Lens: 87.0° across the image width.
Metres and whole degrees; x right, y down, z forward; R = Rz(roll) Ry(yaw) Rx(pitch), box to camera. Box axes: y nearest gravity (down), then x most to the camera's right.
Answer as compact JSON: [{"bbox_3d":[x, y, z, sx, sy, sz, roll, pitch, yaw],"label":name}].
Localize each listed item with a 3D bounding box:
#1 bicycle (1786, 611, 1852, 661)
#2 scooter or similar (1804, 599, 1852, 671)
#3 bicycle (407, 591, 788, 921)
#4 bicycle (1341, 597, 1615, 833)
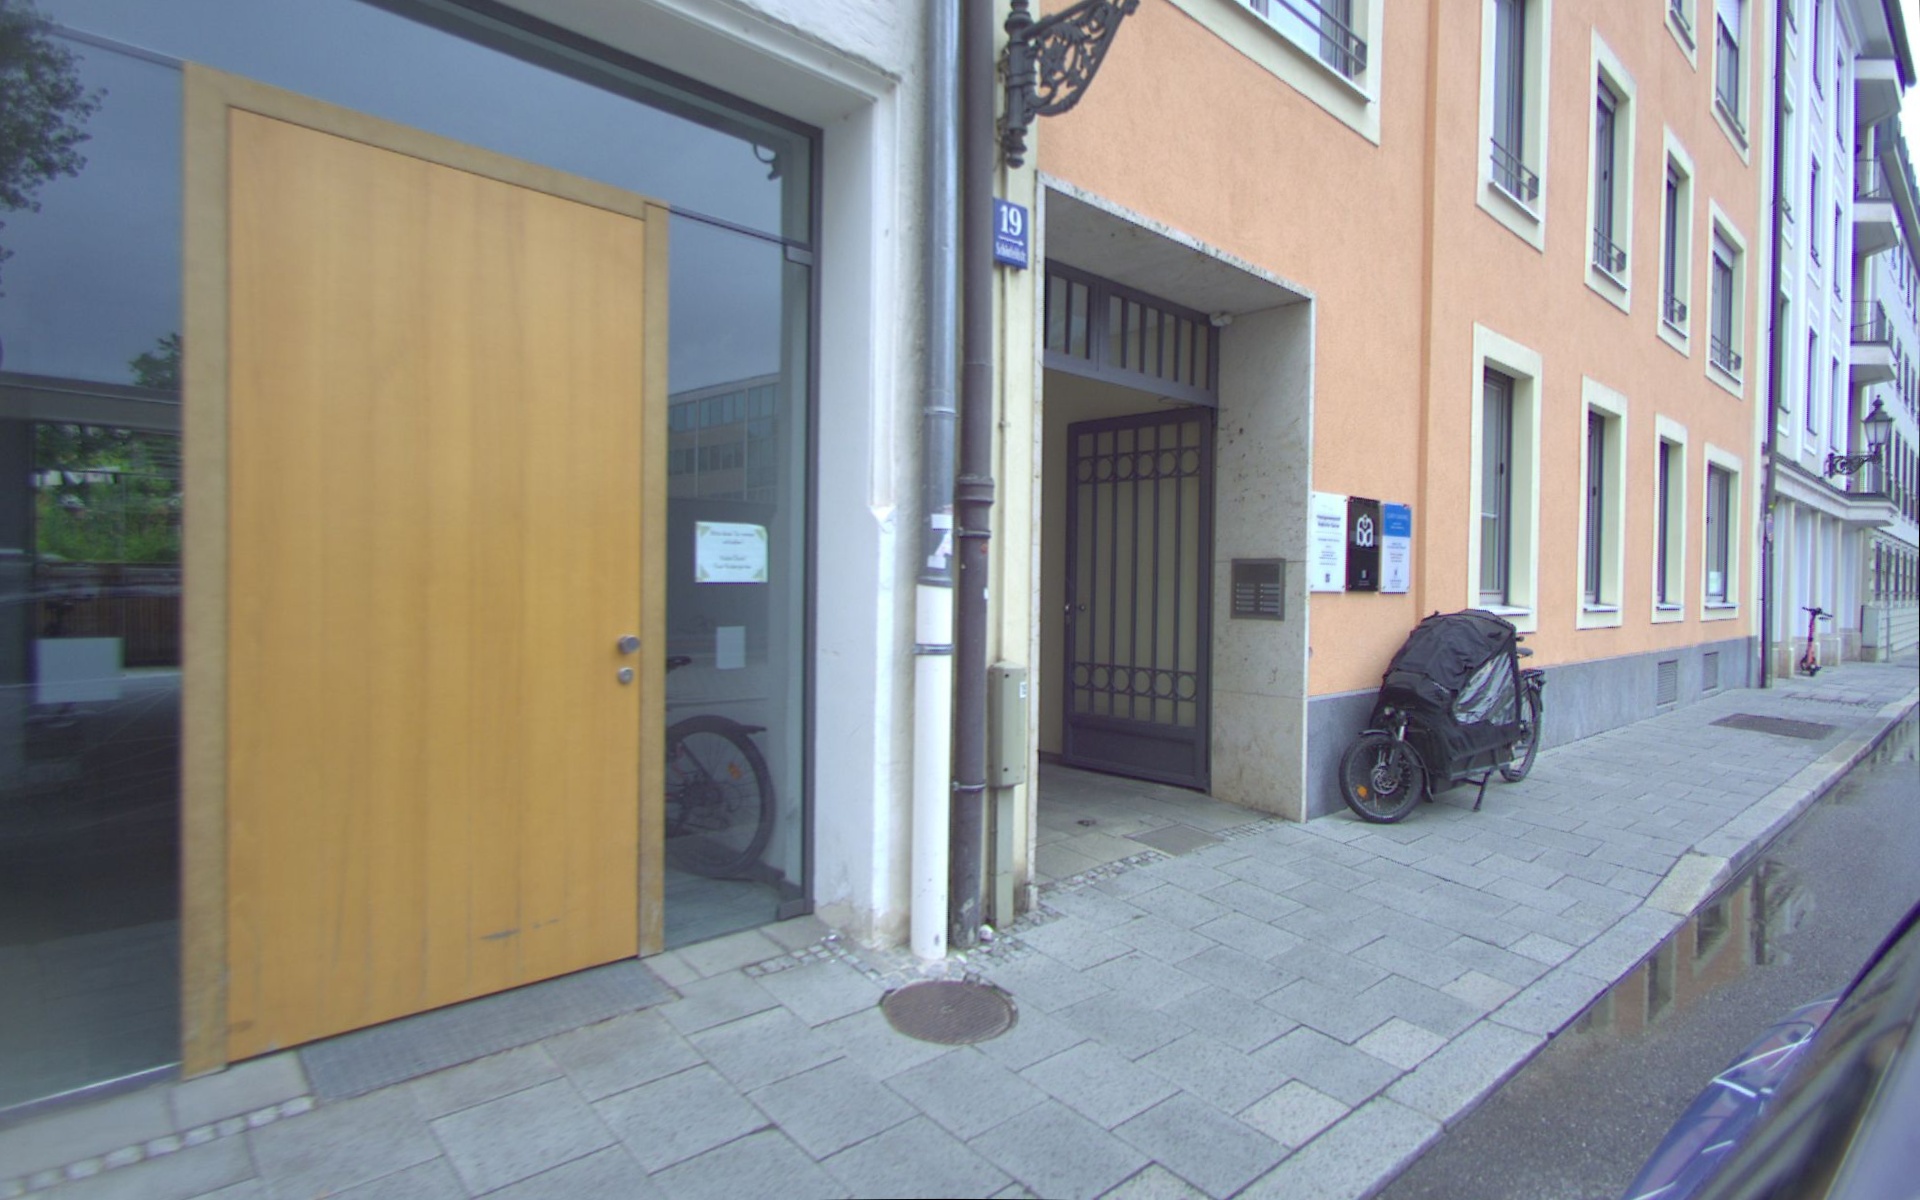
[{"bbox_3d":[18.450,0.775,21.728,2.037,1.006,0.465,2,0,-33],"label":"bicycle"},{"bbox_3d":[16.538,0.649,19.304,0.463,1.274,1.261,4,3,33],"label":"scooter or similar"},{"bbox_3d":[-1.671,0.565,4.519,1.766,1.043,0.748,7,5,38],"label":"bicycle"},{"bbox_3d":[3.463,0.652,6.641,2.340,1.255,0.681,1,5,-41],"label":"bicycle"}]
